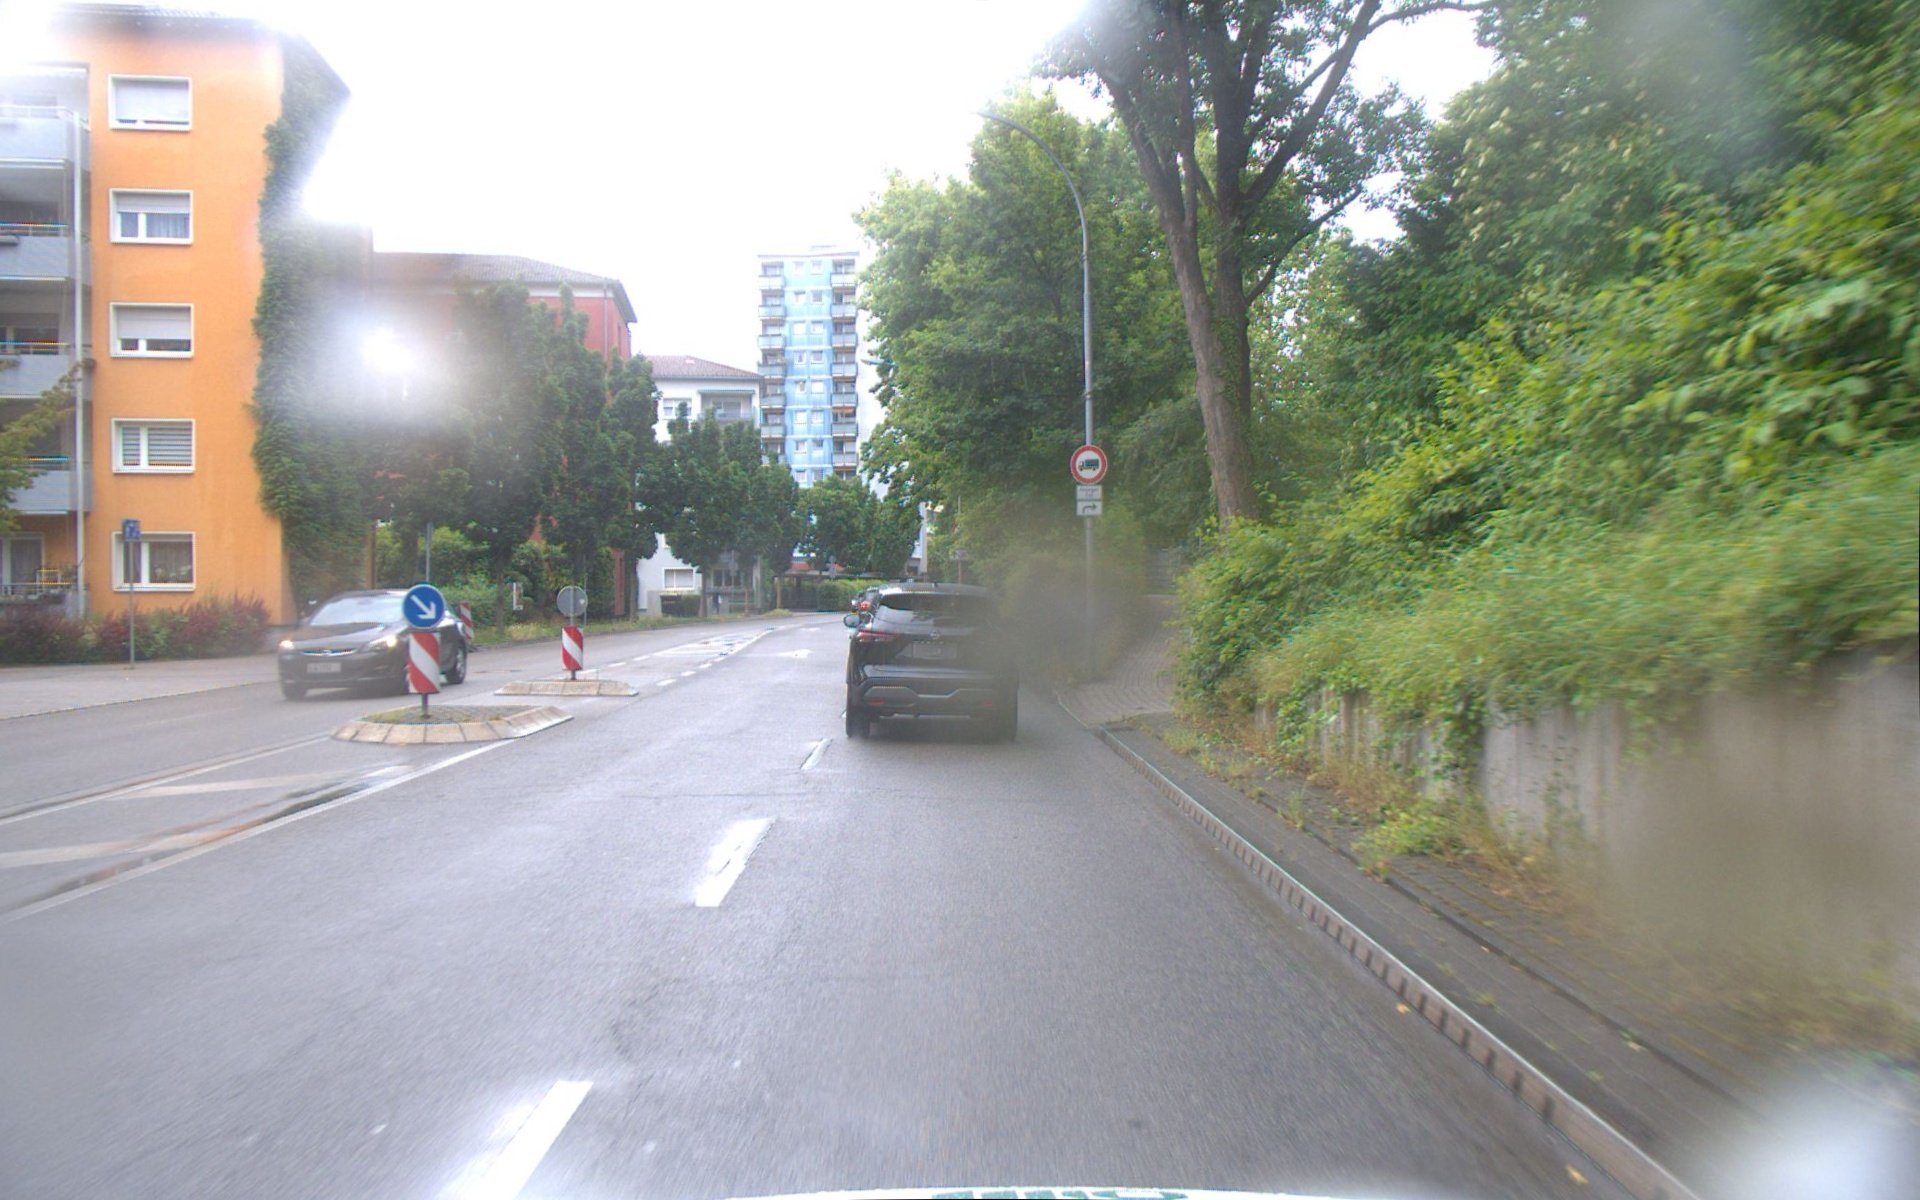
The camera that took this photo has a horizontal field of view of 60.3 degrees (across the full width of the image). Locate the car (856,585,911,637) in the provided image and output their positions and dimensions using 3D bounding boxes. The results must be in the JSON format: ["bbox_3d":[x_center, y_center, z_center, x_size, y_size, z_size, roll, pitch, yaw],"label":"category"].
[{"bbox_3d":[-2.651,0.371,57.703,1.849,1.741,3.998,0,0,-2],"label":"car"}]

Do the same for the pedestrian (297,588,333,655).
[{"bbox_3d":[-15.985,0.522,41.006,0.574,1.632,0.661,-2,0,-1],"label":"pedestrian"}]

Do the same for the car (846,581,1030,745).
[{"bbox_3d":[-0.315,0.621,18.454,1.808,1.610,3.998,1,0,-3],"label":"car"}]

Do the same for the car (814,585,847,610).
[{"bbox_3d":[-9.623,-0.196,123.205,1.761,1.873,4.003,-1,0,5],"label":"car"}]

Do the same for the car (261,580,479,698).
[{"bbox_3d":[-8.561,0.509,24.435,1.752,1.530,4.645,-2,0,-3],"label":"car"}]

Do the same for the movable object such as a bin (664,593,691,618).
[{"bbox_3d":[-15.841,0.288,92.700,1.294,1.385,1.258,-1,0,-1],"label":"movable object such as a bin"}]

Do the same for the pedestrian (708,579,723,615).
[{"bbox_3d":[-14.004,-0.167,94.937,0.701,2.049,0.950,-1,0,-1],"label":"pedestrian"}]
